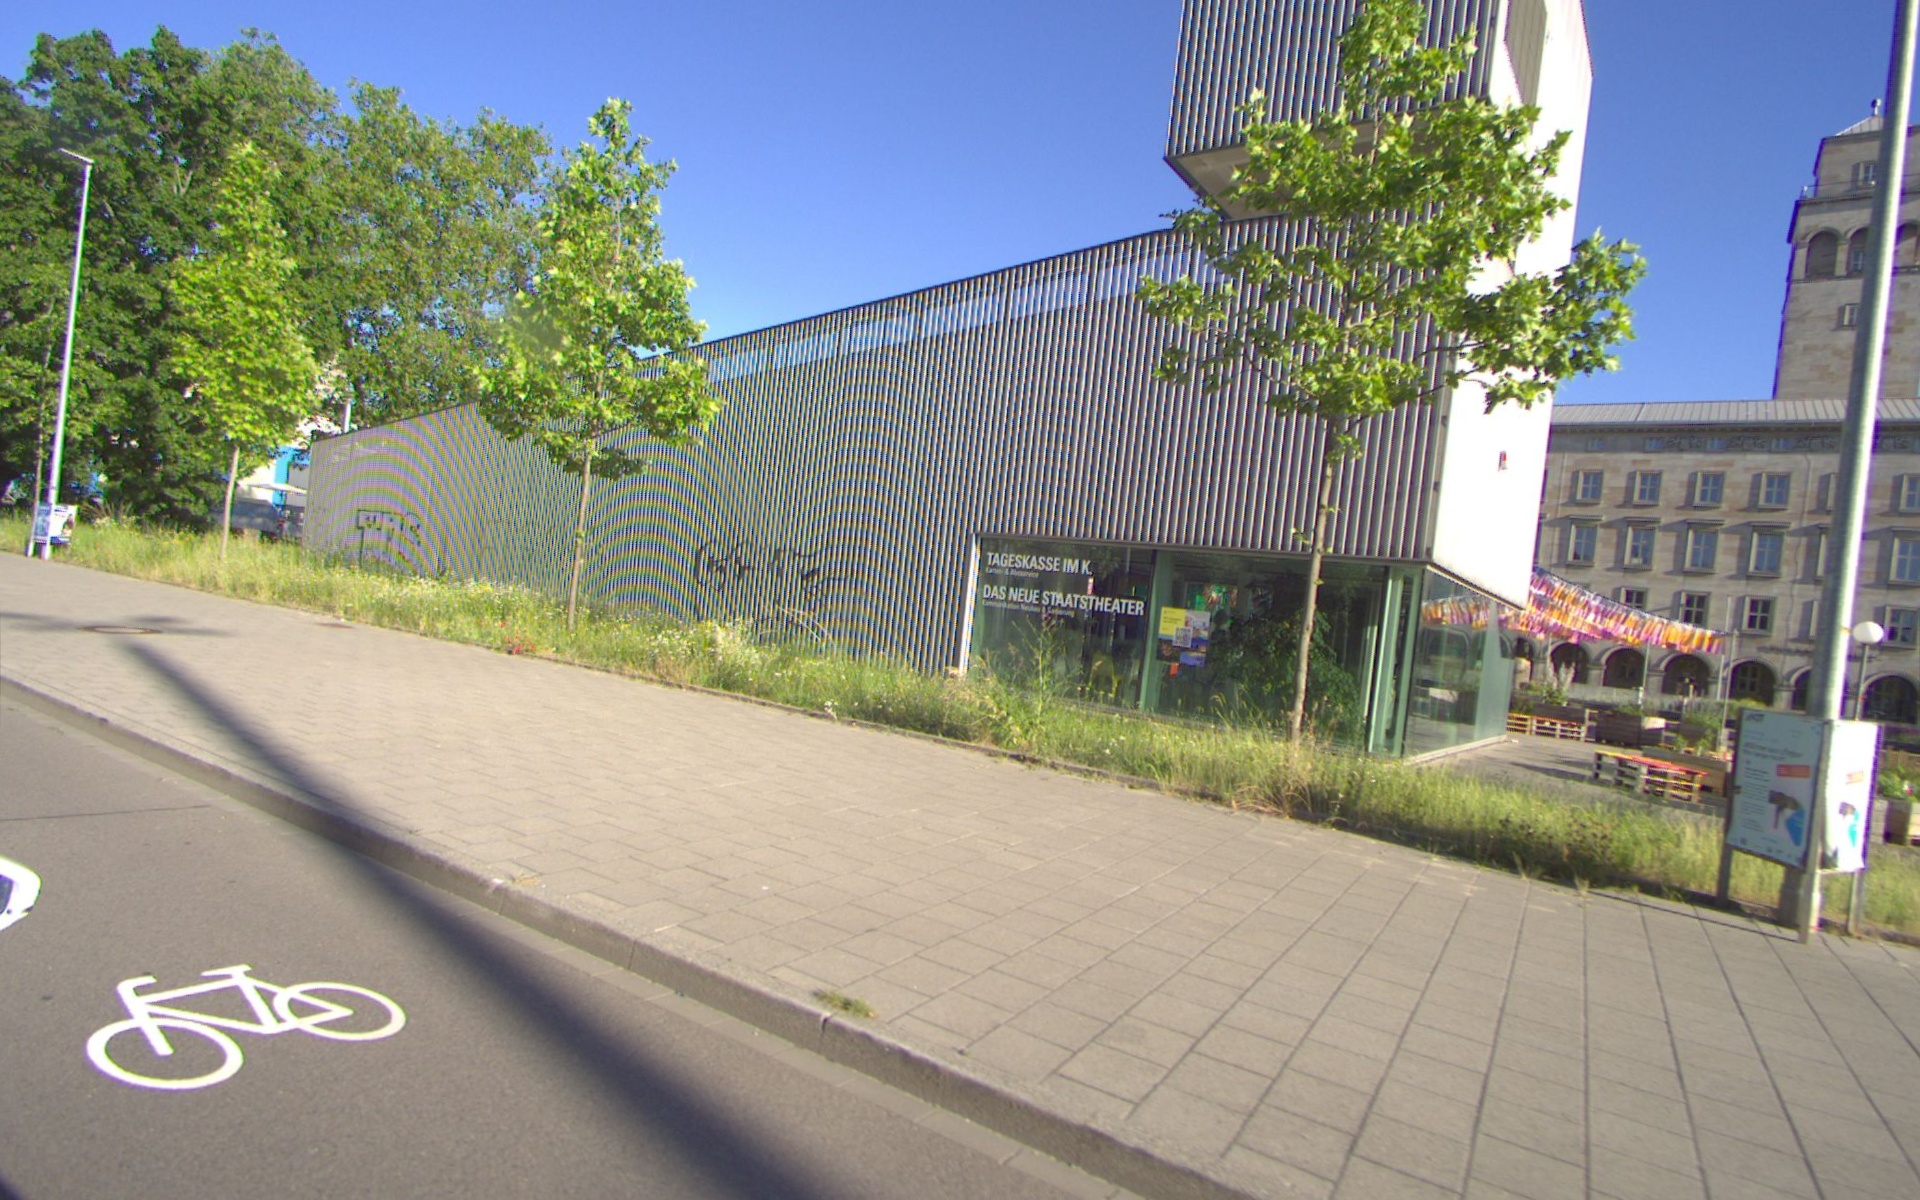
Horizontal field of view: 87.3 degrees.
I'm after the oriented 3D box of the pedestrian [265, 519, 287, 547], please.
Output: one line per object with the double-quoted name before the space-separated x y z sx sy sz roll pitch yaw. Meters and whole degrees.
"pedestrian" -53.511 -5.246 78.757 0.932 2.039 0.913 5 0 3
